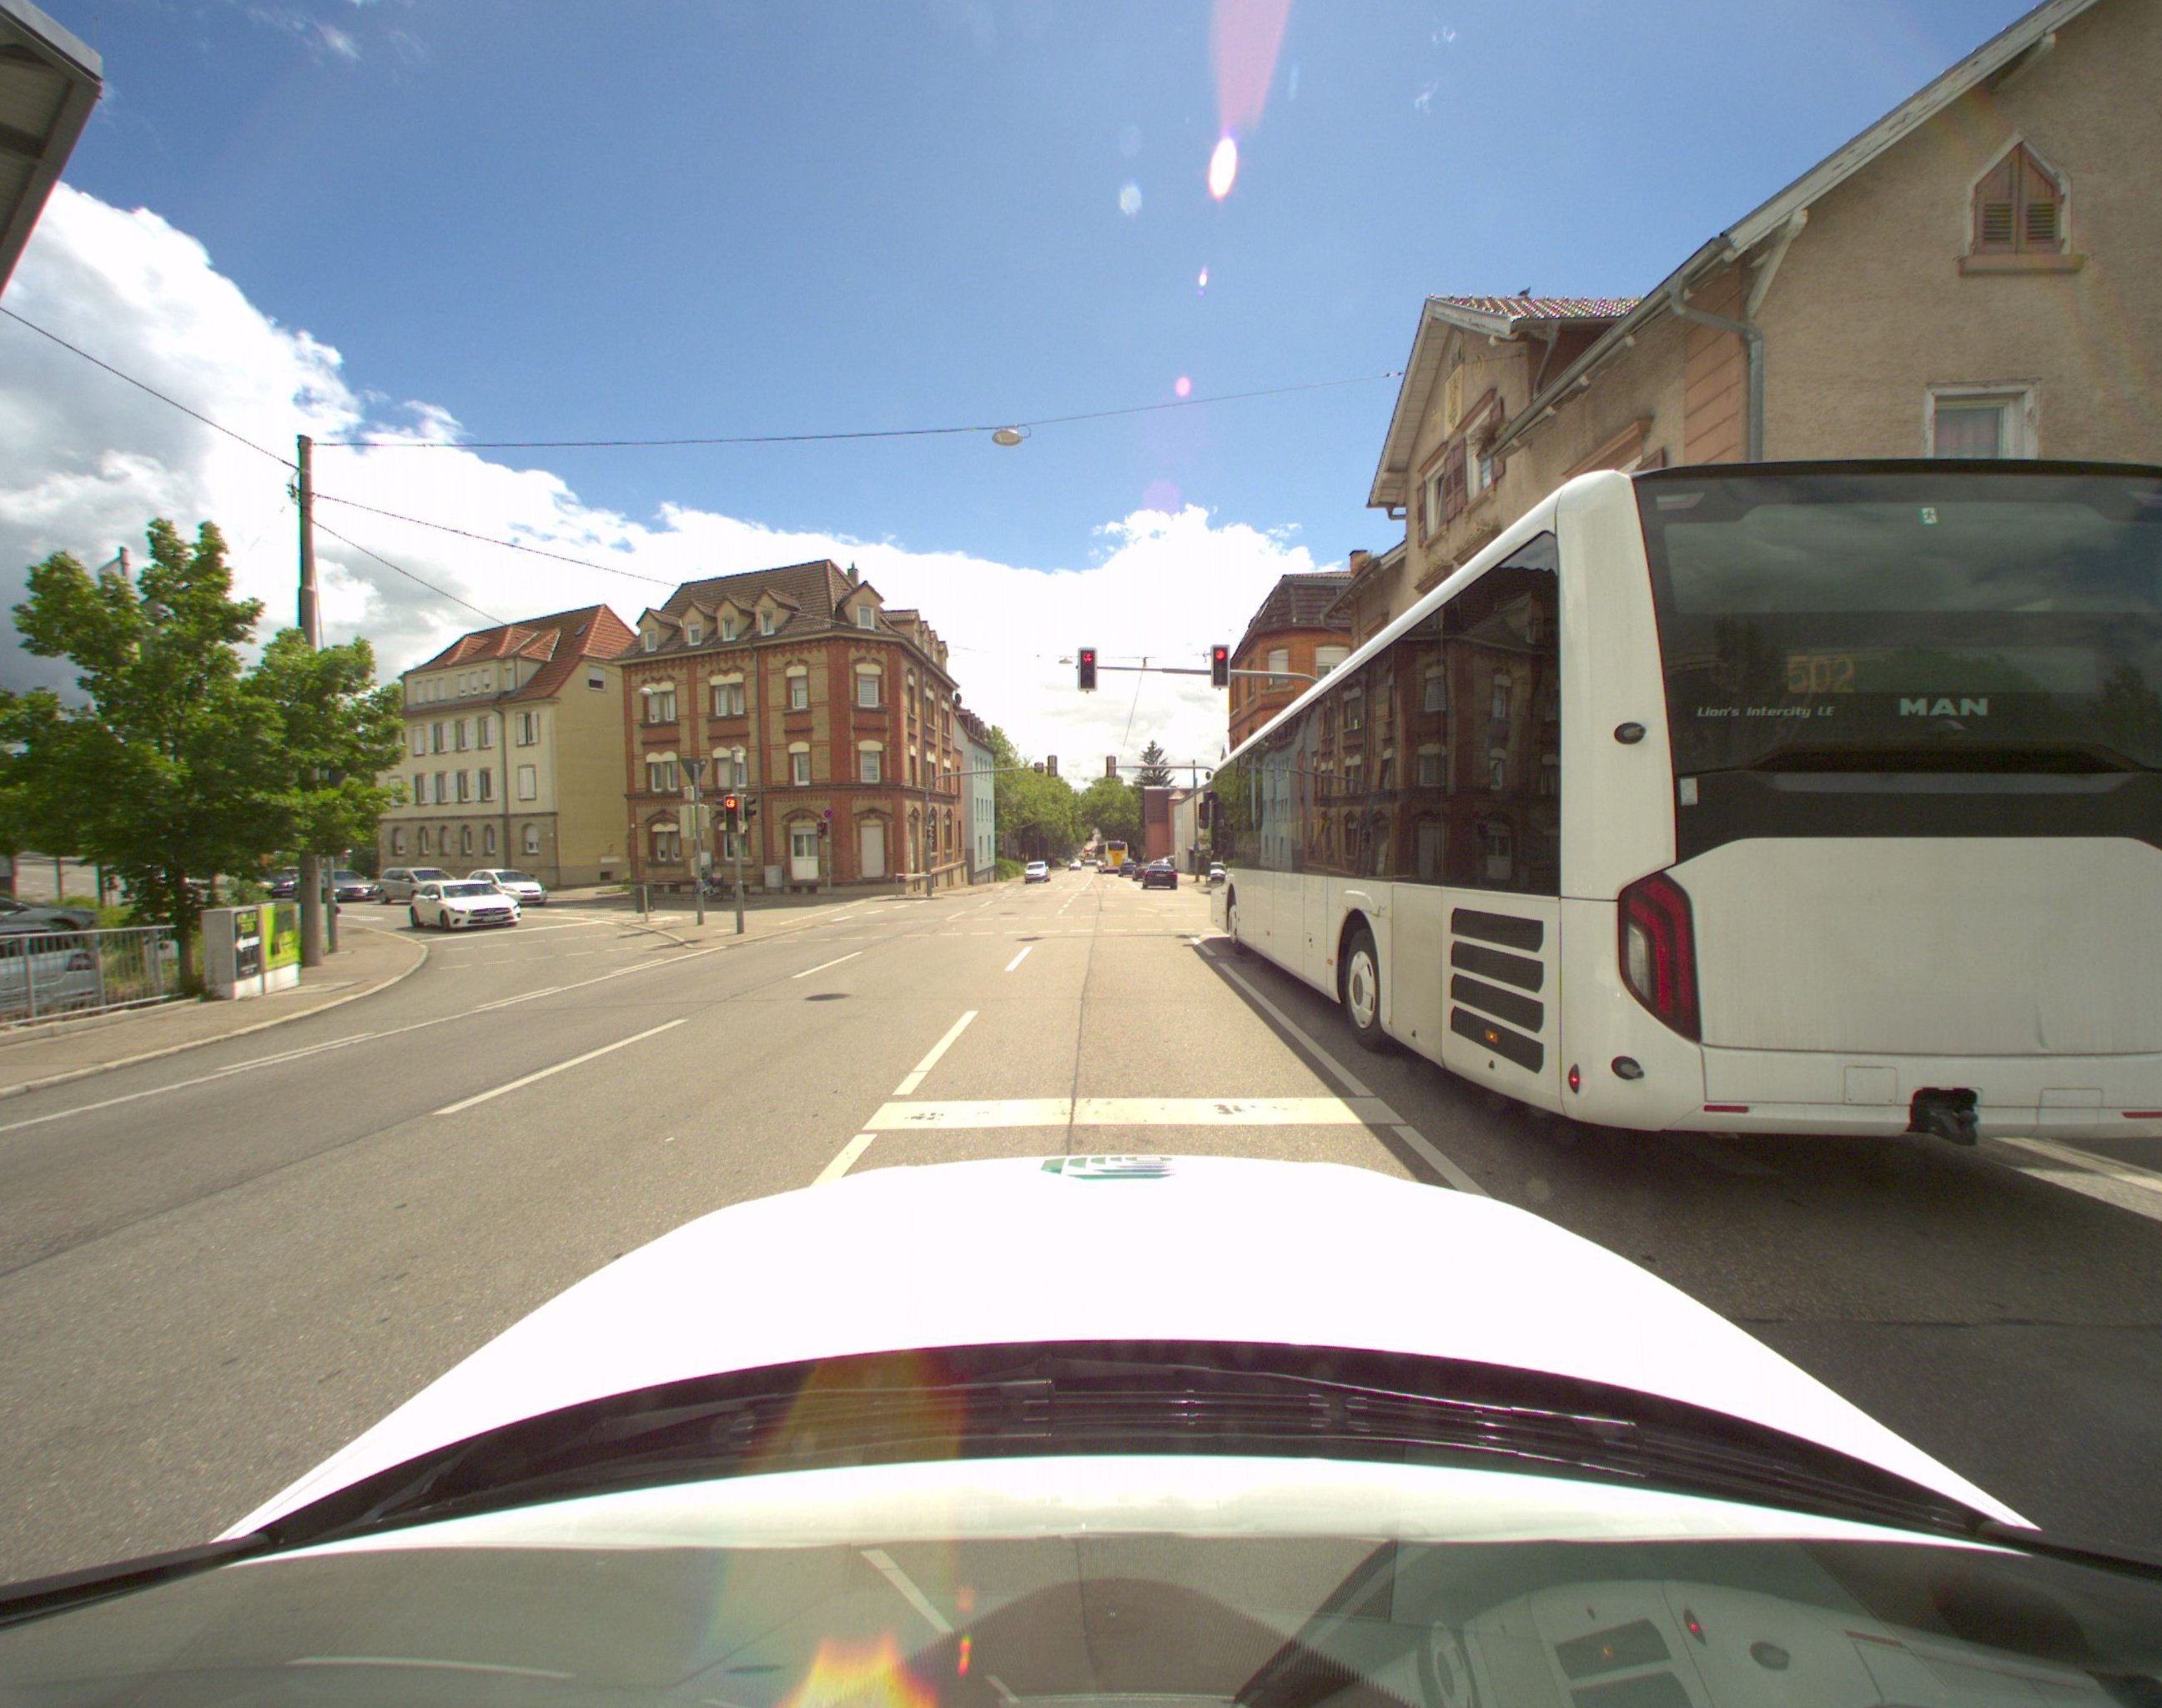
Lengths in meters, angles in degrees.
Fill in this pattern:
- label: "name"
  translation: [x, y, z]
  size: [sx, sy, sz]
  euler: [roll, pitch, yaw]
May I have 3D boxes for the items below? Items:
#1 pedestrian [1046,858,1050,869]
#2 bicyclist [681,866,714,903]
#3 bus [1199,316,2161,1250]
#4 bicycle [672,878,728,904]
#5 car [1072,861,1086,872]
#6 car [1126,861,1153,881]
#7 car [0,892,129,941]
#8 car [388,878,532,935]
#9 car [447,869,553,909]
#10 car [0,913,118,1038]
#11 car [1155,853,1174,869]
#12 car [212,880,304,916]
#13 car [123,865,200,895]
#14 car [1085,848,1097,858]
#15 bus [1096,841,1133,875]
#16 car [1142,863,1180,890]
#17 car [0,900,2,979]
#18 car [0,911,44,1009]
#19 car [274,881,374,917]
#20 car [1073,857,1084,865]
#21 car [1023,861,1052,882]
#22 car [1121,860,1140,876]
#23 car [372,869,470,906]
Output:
- label: "pedestrian"
  translation: [-5.605, 1.613, 137.026]
  size: [0.604, 1.758, 0.653]
  euler: [-2, 0, 0]
- label: "bicyclist"
  translation: [-16.327, 1.289, 34.704]
  size: [1.065, 1.499, 0.592]
  euler: [-2, 0, 10]
- label: "bus"
  translation: [3.519, -0.228, 9.312]
  size: [2.893, 3.510, 12.492]
  euler: [0, 0, 2]
- label: "bicycle"
  translation: [-16.215, 1.589, 34.680]
  size: [2.172, 1.019, 0.608]
  euler: [-2, 0, 9]
- label: "car"
  translation: [-0.250, 1.713, 114.715]
  size: [1.858, 1.367, 4.549]
  euler: [-2, 0, 2]
- label: "car"
  translation: [4.439, 1.269, 62.230]
  size: [1.858, 1.367, 4.549]
  euler: [-2, 0, 2]
- label: "car"
  translation: [-29.250, 1.735, 22.218]
  size: [1.795, 1.186, 4.025]
  euler: [-1, 0, 31]
- label: "car"
  translation: [-18.779, 1.550, 24.593]
  size: [4.334, 1.447, 1.875]
  euler: [-2, 2, 30]
- label: "car"
  translation: [-23.597, 1.394, 33.066]
  size: [3.951, 1.497, 1.711]
  euler: [-1, 0, 24]
- label: "car"
  translation: [-16.113, 1.746, 12.188]
  size: [3.638, 1.575, 1.766]
  euler: [-1, -2, 34]
- label: "car"
  translation: [9.541, 0.800, 93.267]
  size: [1.760, 1.665, 4.002]
  euler: [-2, 0, 2]
- label: "car"
  translation: [-41.822, 2.229, 41.371]
  size: [3.951, 1.642, 2.011]
  euler: [-2, 0, 24]
- label: "car"
  translation: [-52.782, 1.487, 46.731]
  size: [4.291, 1.586, 2.012]
  euler: [-1, 0, 29]
- label: "car"
  translation: [2.923, -0.219, 247.749]
  size: [2.124, 3.070, 5.651]
  euler: [-1, -1, 17]
- label: "bus"
  translation: [3.807, 0.442, 96.079]
  size: [3.292, 3.631, 11.233]
  euler: [-2, 0, -2]
- label: "car"
  translation: [4.307, 1.184, 44.431]
  size: [1.791, 1.276, 4.002]
  euler: [-2, 0, 2]
- label: "car"
  translation: [-23.400, 1.741, 16.436]
  size: [3.371, 1.575, 1.526]
  euler: [-1, 0, 30]
- label: "car"
  translation: [-19.708, 1.838, 14.157]
  size: [3.744, 1.523, 1.526]
  euler: [-1, 0, 30]
- label: "car"
  translation: [-35.450, 2.080, 38.144]
  size: [3.951, 1.519, 2.011]
  euler: [-1, 0, 24]
- label: "car"
  translation: [-0.458, 1.525, 174.146]
  size: [2.199, 1.613, 4.549]
  euler: [-2, 0, 2]
- label: "car"
  translation: [-3.496, 1.419, 66.351]
  size: [1.928, 1.563, 4.390]
  euler: [-2, 0, 2]
- label: "car"
  translation: [4.483, 1.235, 74.018]
  size: [1.603, 1.376, 4.002]
  euler: [-2, 0, 2]
- label: "car"
  translation: [-29.205, 1.471, 36.052]
  size: [3.951, 1.519, 1.757]
  euler: [-1, 0, 24]
